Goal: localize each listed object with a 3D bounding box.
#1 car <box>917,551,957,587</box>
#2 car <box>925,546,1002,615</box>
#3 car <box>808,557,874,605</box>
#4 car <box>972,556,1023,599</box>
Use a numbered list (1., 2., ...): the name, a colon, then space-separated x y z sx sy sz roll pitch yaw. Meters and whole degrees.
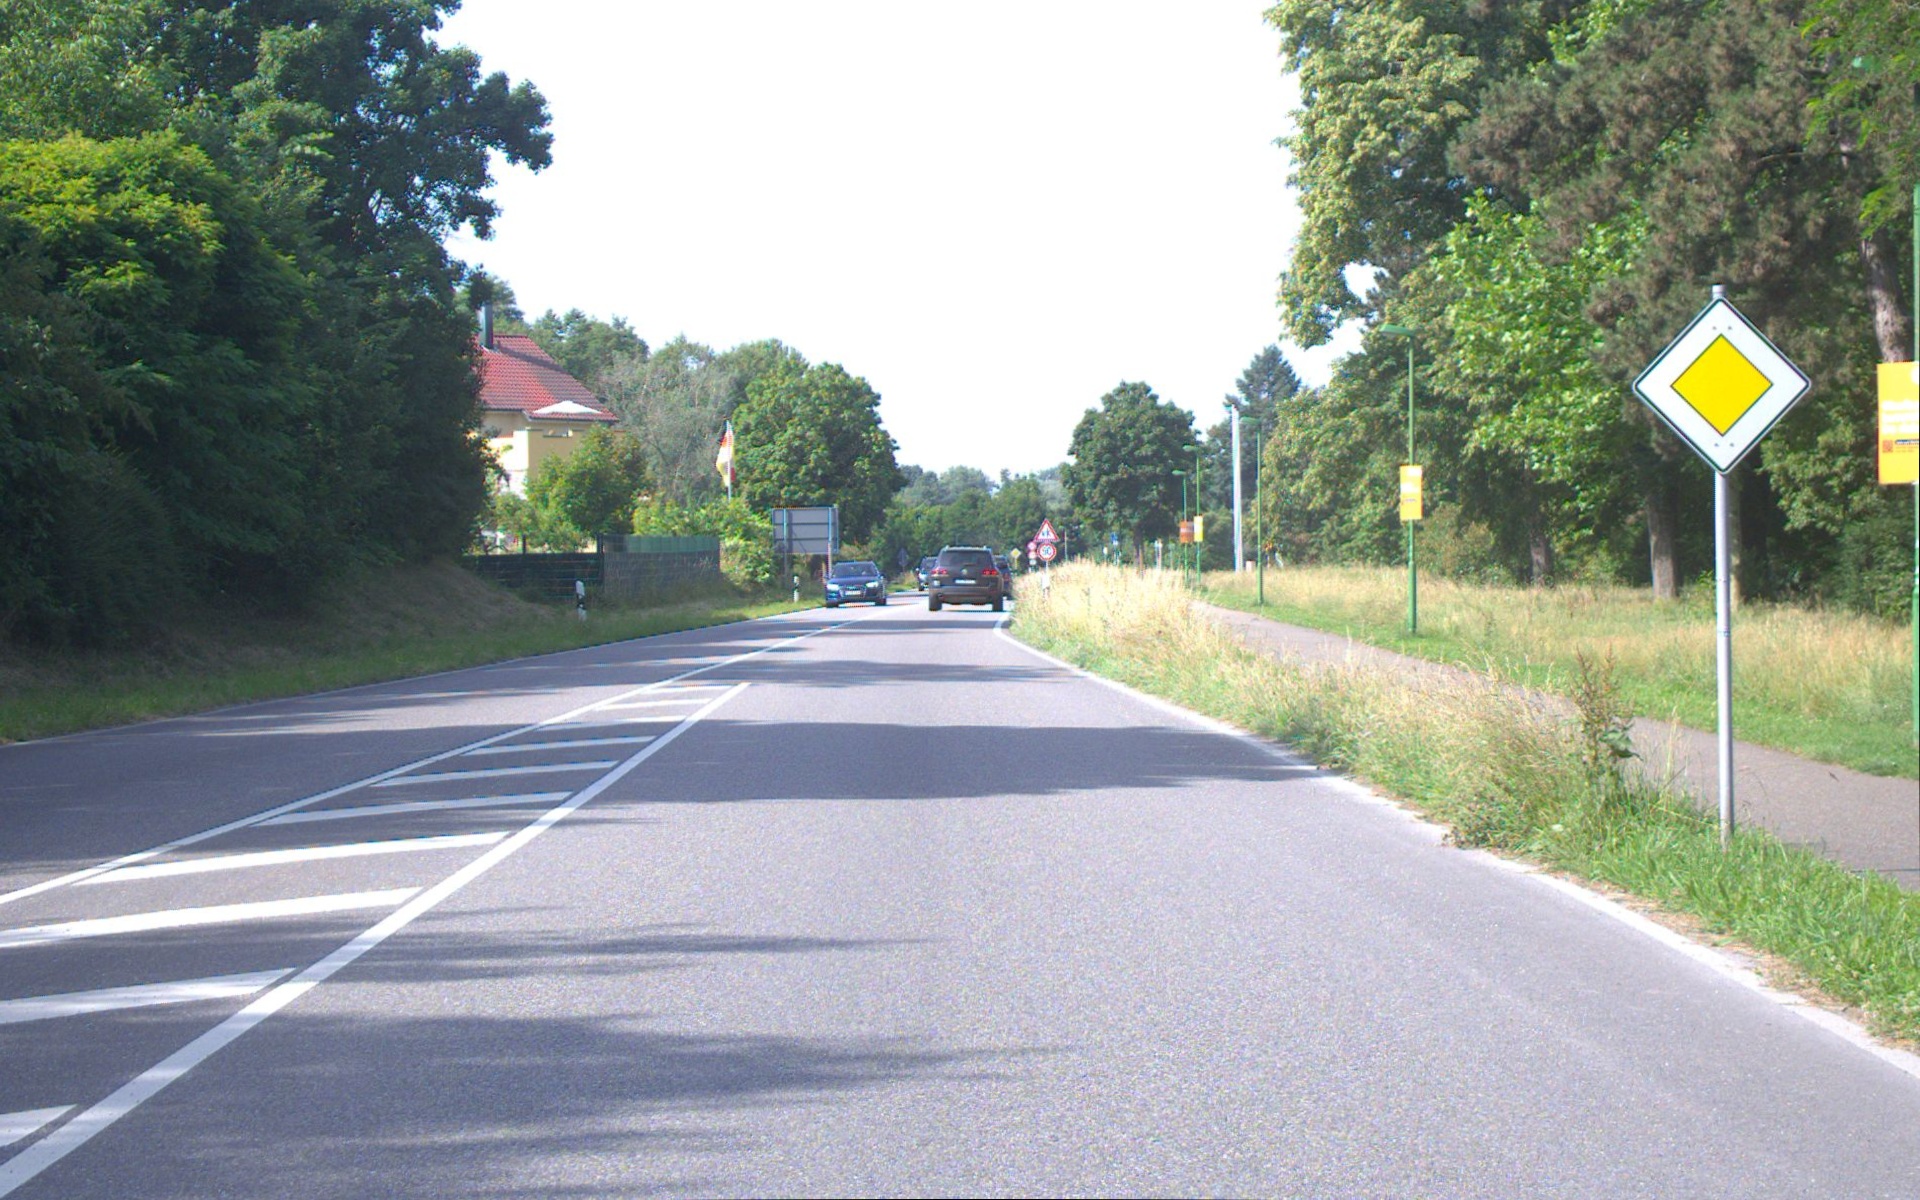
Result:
1. car: -1.243 -1.668 185.354 1.939 1.811 4.242 -2 1 -2
2. car: 0.065 -0.534 90.474 1.925 1.765 4.000 -1 1 -1
3. car: -3.802 -0.627 110.168 1.870 1.418 4.577 -3 1 0
4. car: 1.366 -0.848 126.764 1.735 1.511 3.915 -1 1 -2
